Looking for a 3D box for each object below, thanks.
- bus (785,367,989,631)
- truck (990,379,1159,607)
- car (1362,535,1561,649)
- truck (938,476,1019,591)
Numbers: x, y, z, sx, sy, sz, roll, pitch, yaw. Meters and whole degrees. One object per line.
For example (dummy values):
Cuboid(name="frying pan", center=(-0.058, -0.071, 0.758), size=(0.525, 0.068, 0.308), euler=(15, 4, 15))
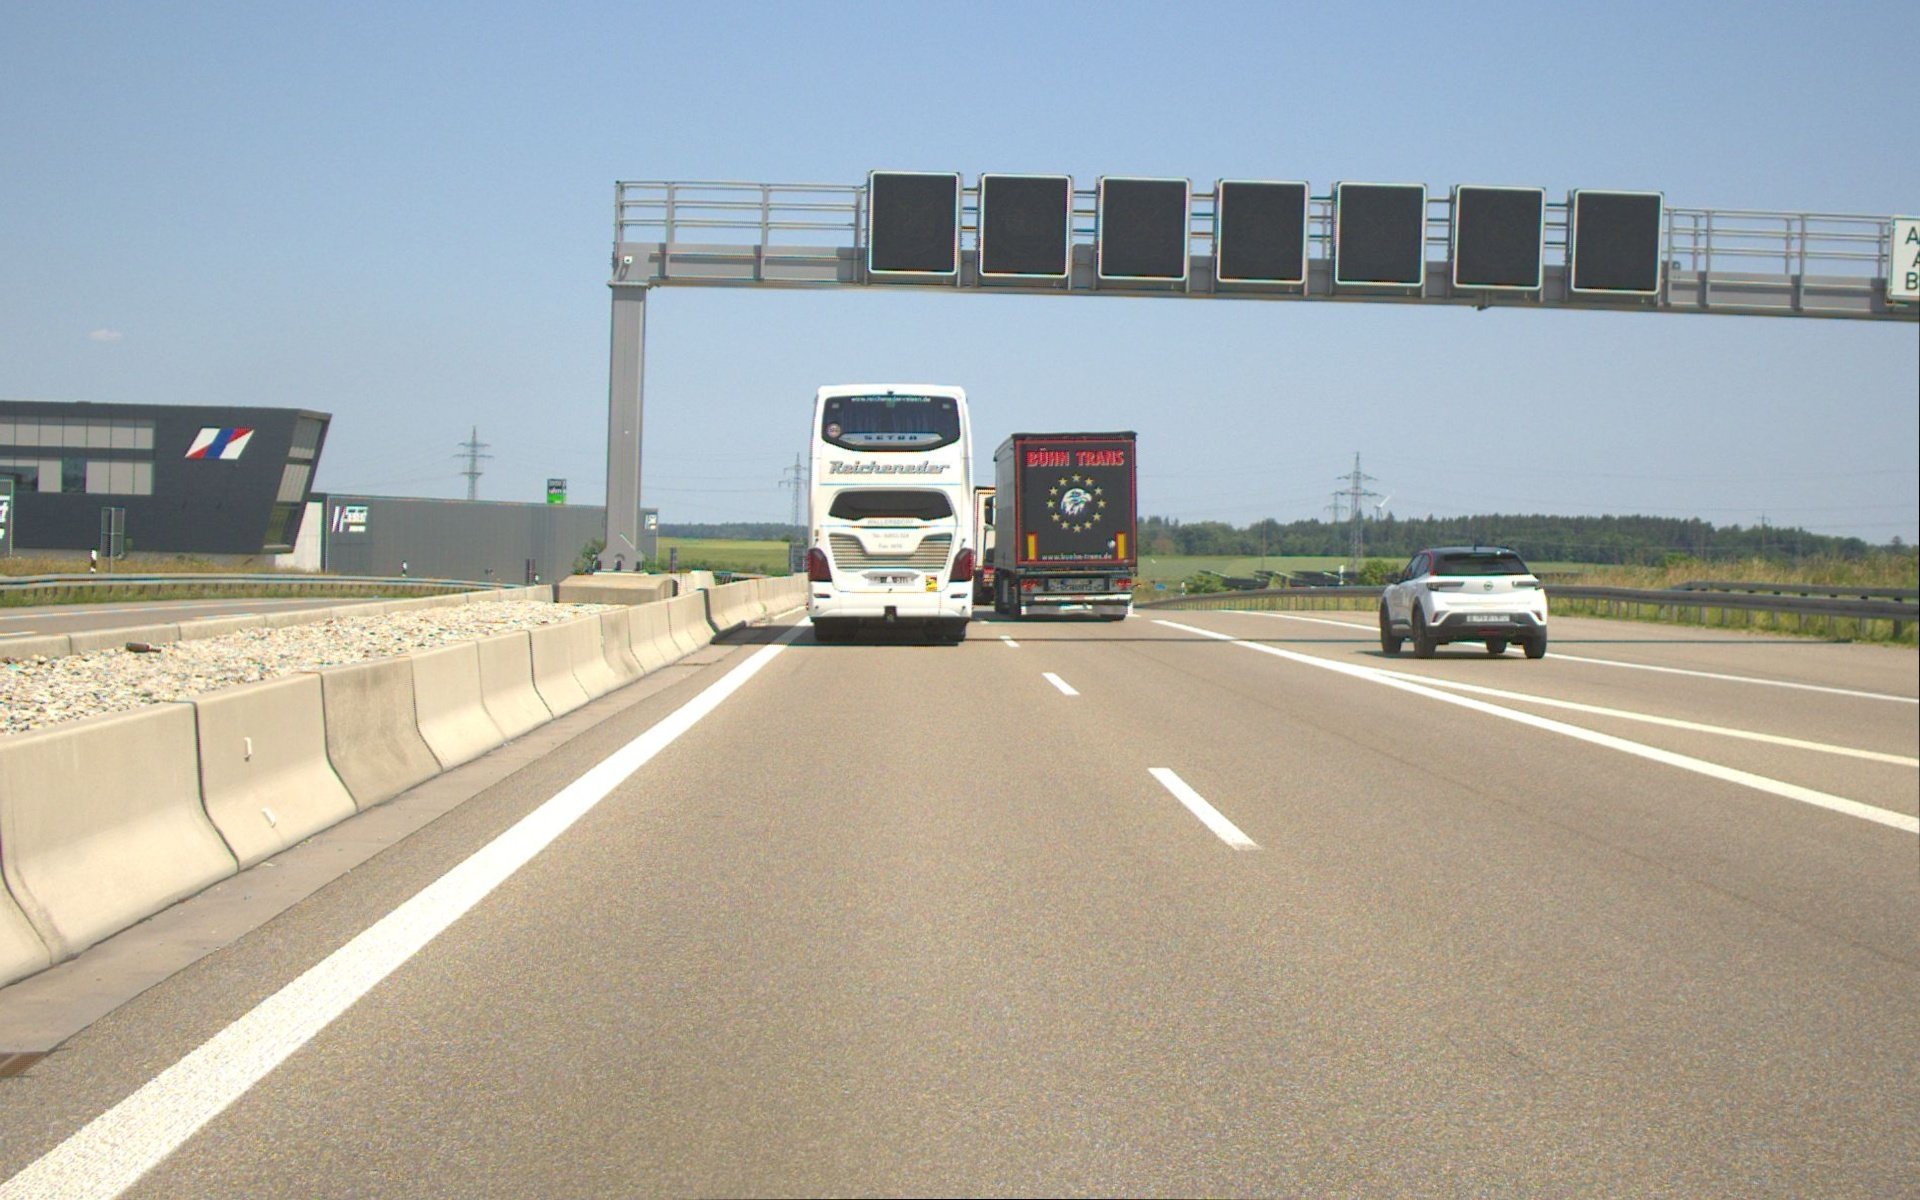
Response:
Cuboid(name="bus", center=(-1.343, -1.682, 56.672), size=(2.980, 3.961, 9.107), euler=(1, 2, -3))
Cuboid(name="truck", center=(2.420, -2.194, 77.562), size=(3.379, 4.449, 13.566), euler=(1, -1, 1))
Cuboid(name="car", center=(7.052, -0.146, 48.730), size=(1.890, 1.524, 4.263), euler=(0, 1, -4))
Cuboid(name="truck", center=(0.591, -2.247, 116.922), size=(2.437, 3.776, 6.494), euler=(1, 1, -2))
